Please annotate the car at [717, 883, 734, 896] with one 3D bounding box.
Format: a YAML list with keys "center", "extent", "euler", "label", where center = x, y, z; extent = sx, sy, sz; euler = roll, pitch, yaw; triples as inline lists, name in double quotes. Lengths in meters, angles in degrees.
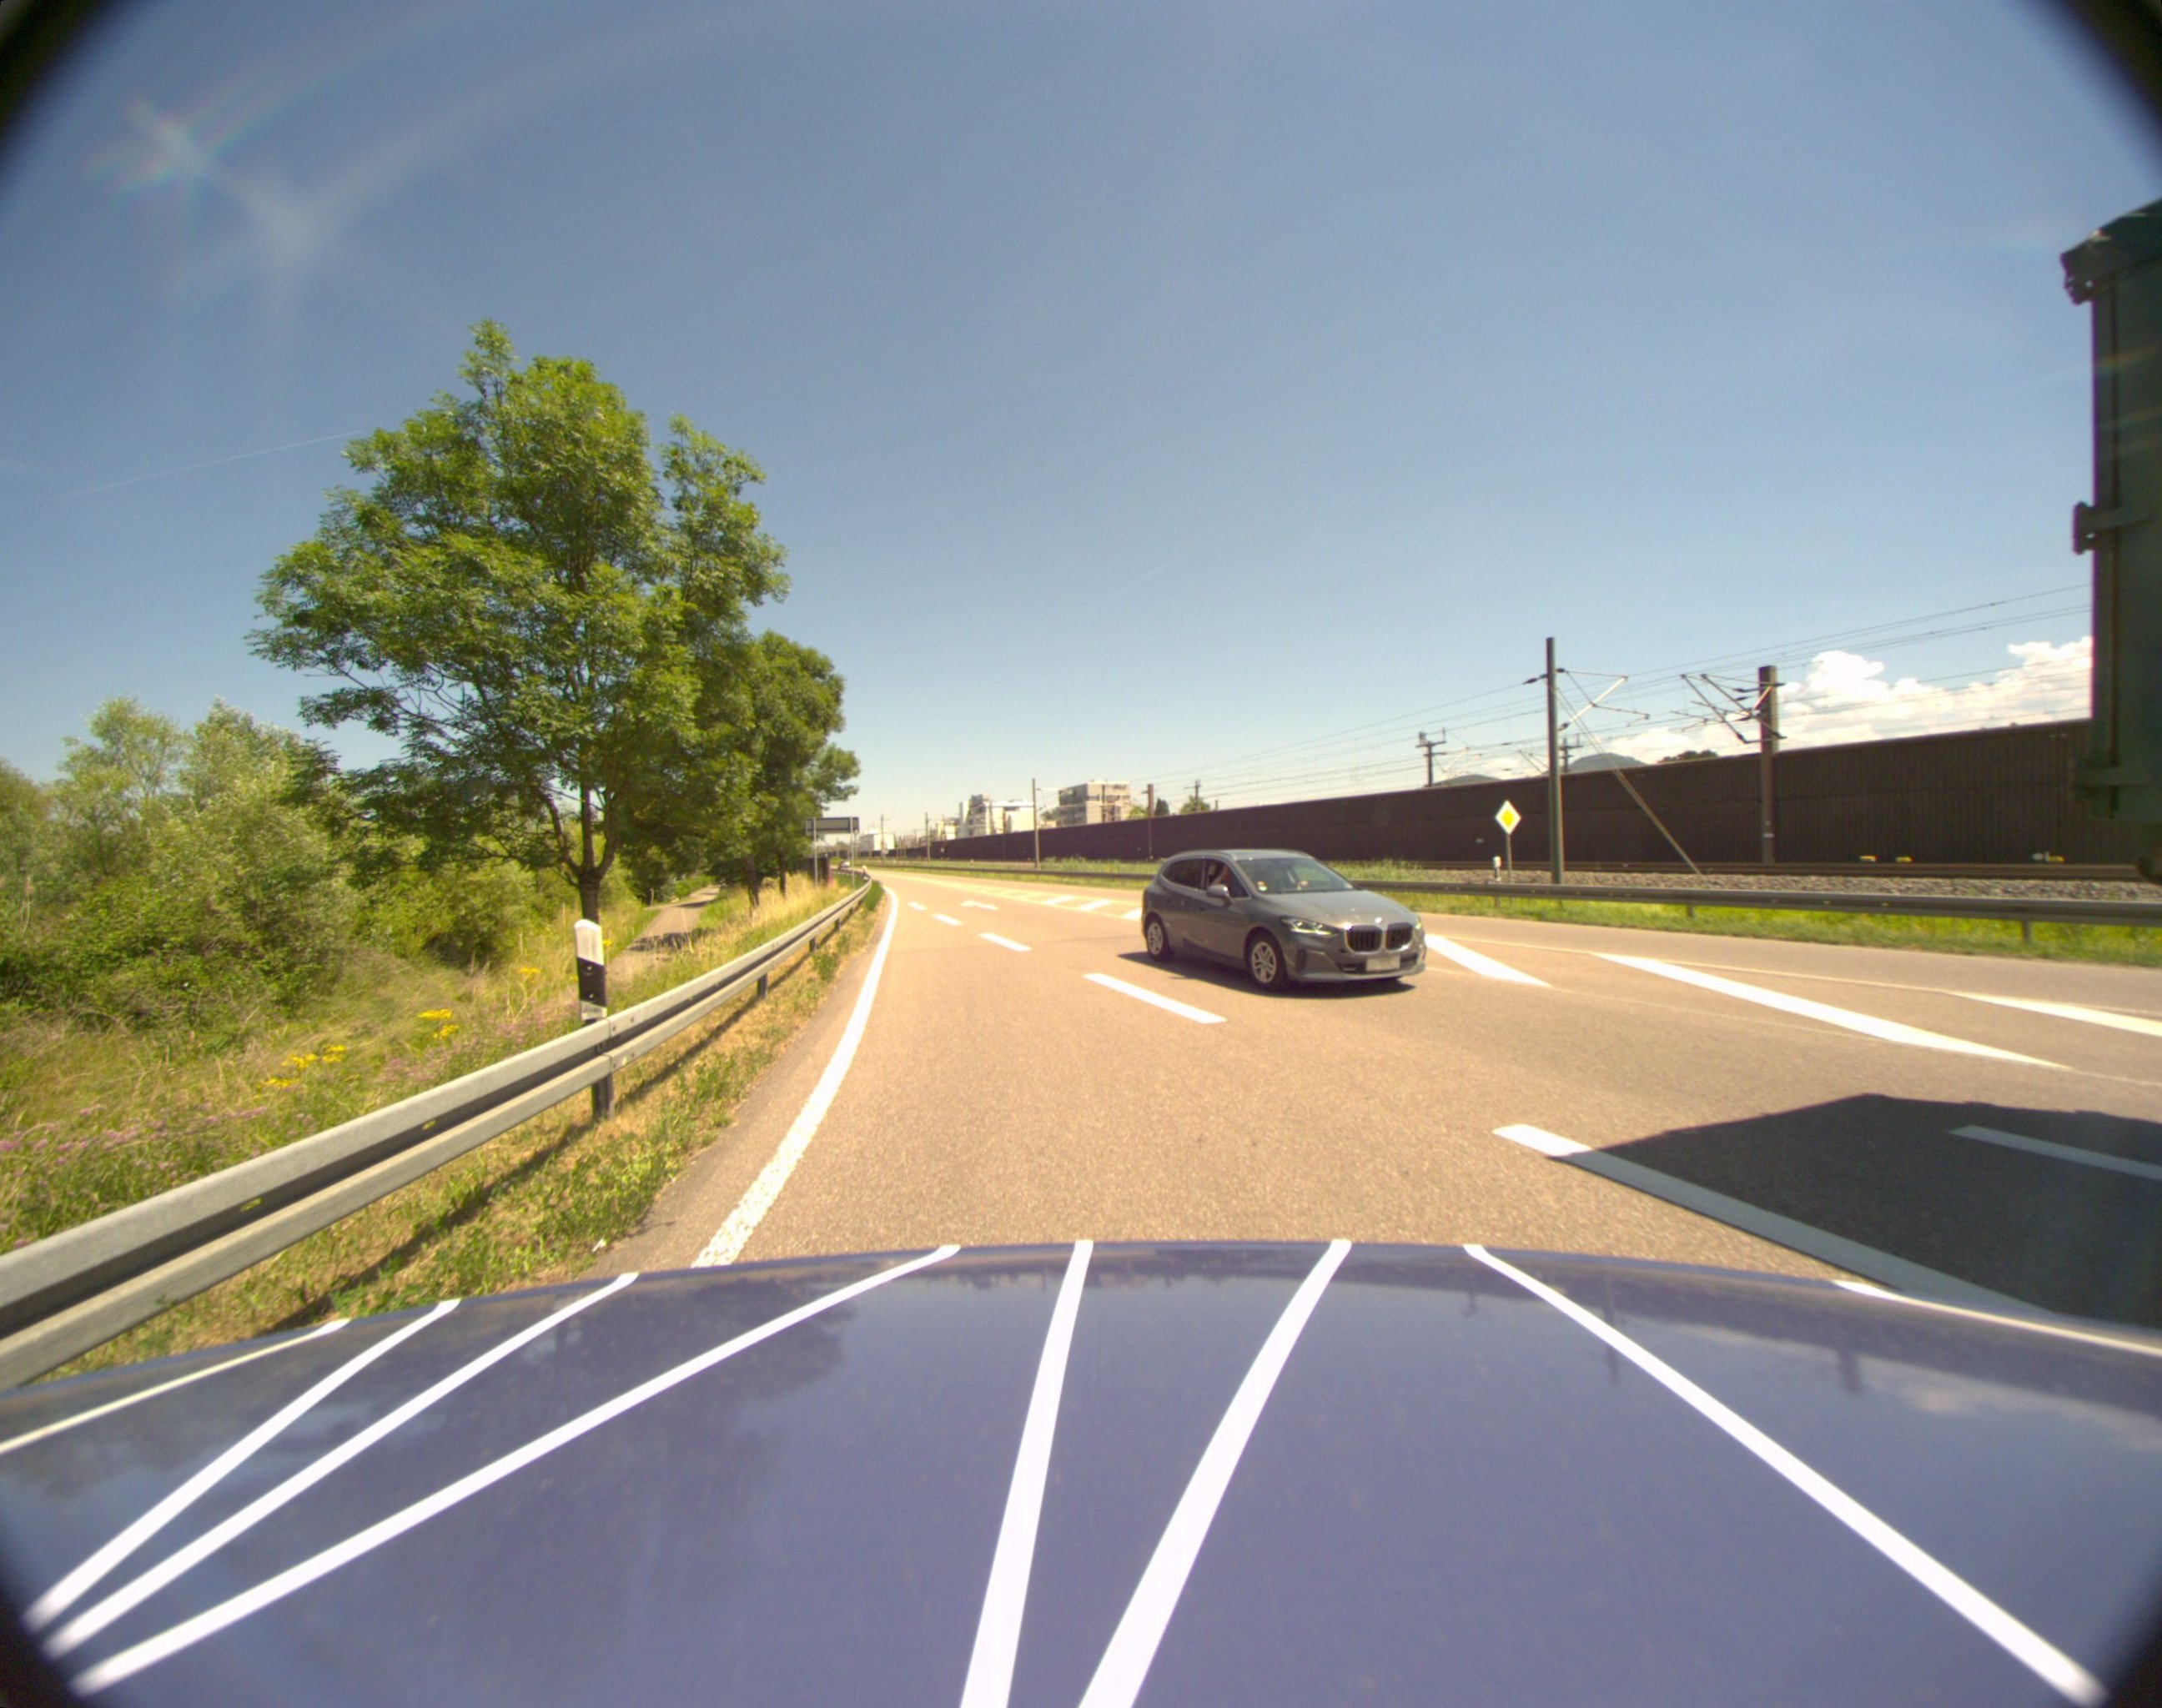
- center: [-52.854, 5.316, 113.139]
  extent: [2.002, 1.674, 3.993]
  euler: [-3, 0, -22]
  label: "car"

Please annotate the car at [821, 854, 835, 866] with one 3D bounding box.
- center: [-43.018, 0.976, 129.151]
  extent: [2.002, 2.002, 3.993]
  euler: [-1, 1, -19]
  label: "car"

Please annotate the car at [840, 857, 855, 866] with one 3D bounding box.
- center: [-40.871, 1.291, 132.814]
  extent: [1.873, 1.476, 4.878]
  euler: [-1, 0, -23]
  label: "car"

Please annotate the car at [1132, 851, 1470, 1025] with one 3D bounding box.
- center: [2.388, 0.794, 9.484]
  extent: [1.852, 1.613, 4.218]
  euler: [-1, 1, -21]
  label: "car"
